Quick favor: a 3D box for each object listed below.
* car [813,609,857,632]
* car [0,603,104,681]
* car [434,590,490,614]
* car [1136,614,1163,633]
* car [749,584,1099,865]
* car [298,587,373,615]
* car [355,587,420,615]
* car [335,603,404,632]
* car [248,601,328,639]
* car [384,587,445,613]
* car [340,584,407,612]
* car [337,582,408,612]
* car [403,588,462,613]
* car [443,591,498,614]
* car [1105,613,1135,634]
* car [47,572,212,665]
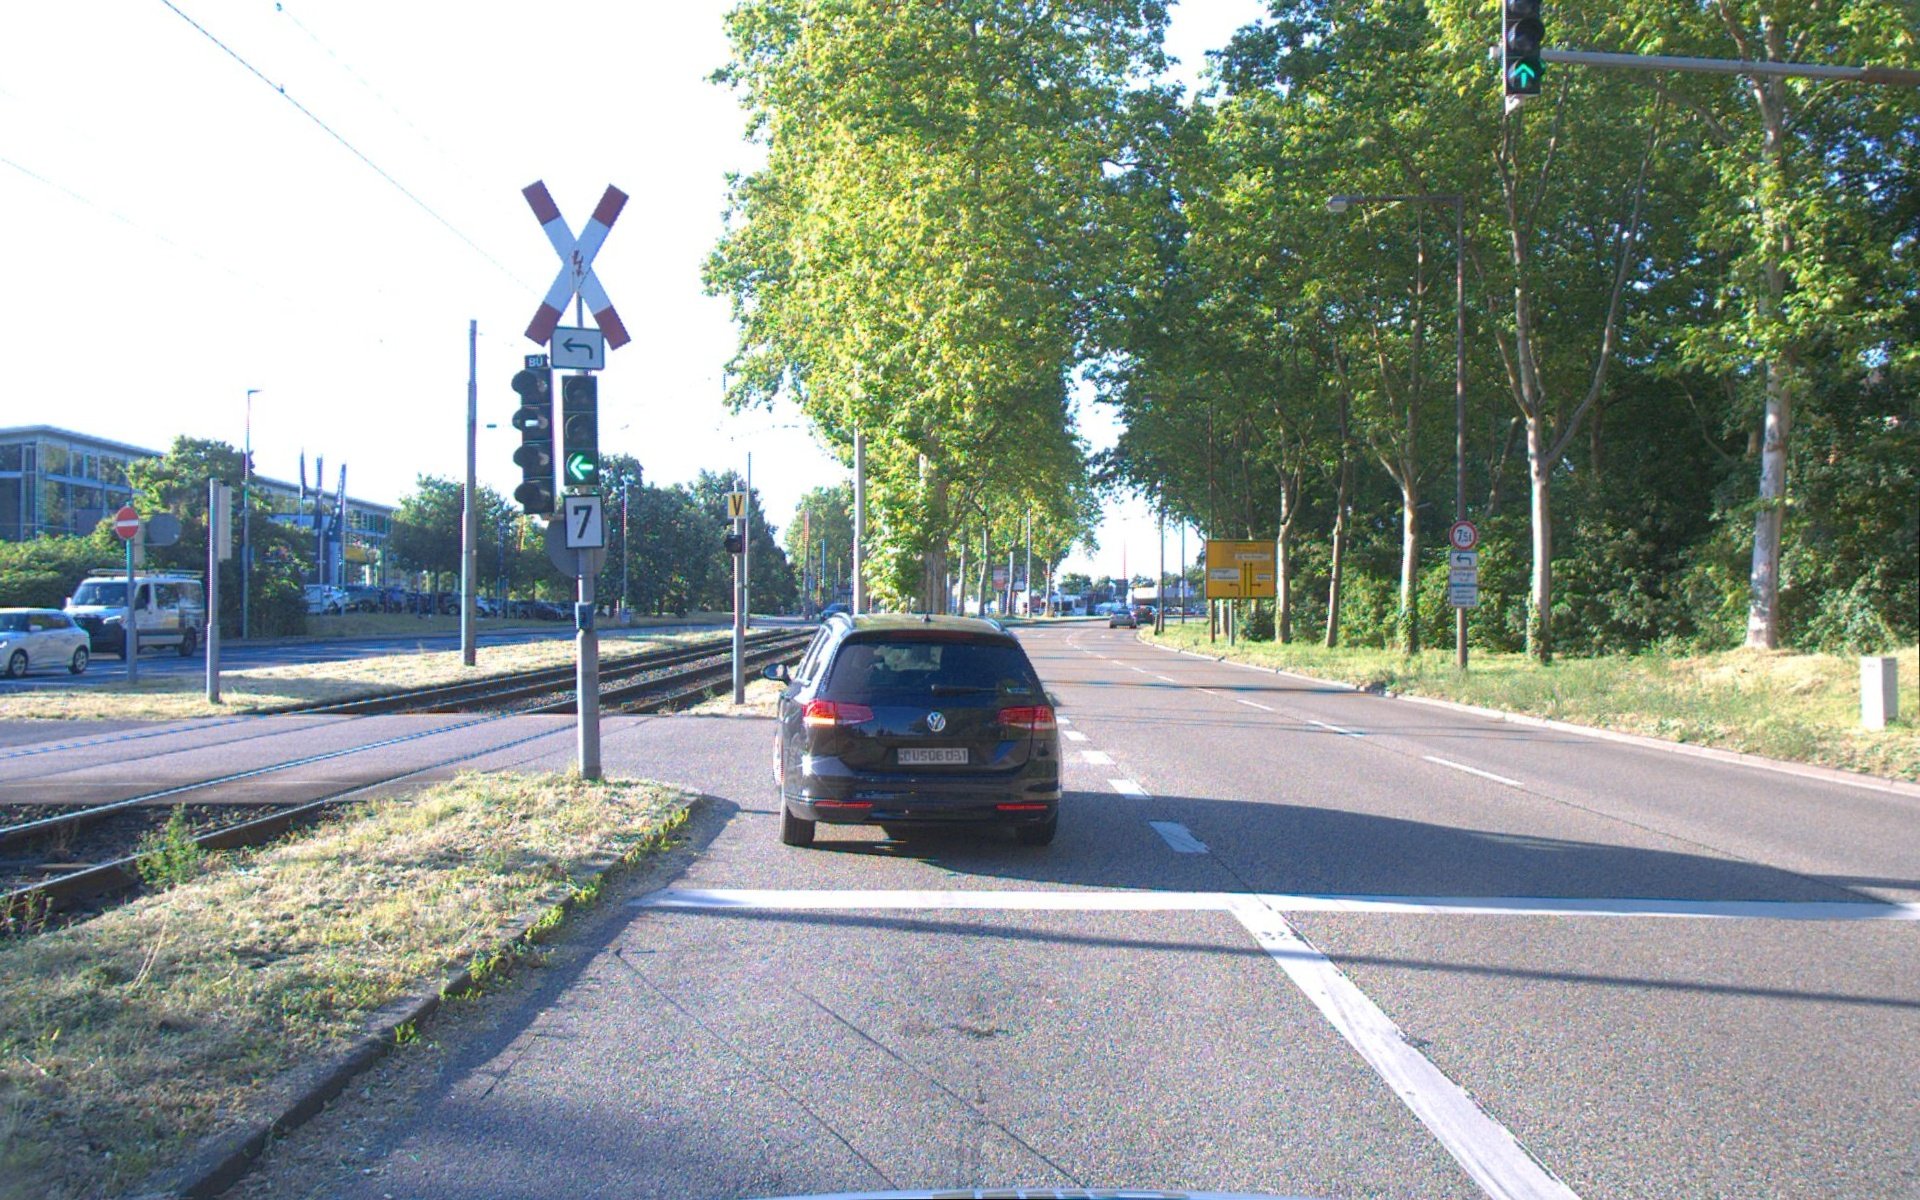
[{"bbox_3d":[-9.525,1.530,126.173,1.772,1.713,3.999,0,-1,22],"label":"car"},{"bbox_3d":[-21.101,0.890,36.985,1.832,1.646,3.999,1,-1,-1],"label":"car"},{"bbox_3d":[-35.476,0.157,117.915,3.731,1.594,1.749,1,-1,-20],"label":"car"},{"bbox_3d":[14.883,1.819,129.791,1.951,1.465,4.003,1,-1,8],"label":"car"},{"bbox_3d":[-0.451,0.743,11.590,1.792,1.583,4.248,1,-1,-10],"label":"car"},{"bbox_3d":[-33.992,0.073,90.110,3.731,1.413,1.749,1,-1,-20],"label":"car"},{"bbox_3d":[-35.447,0.074,102.497,3.731,1.594,1.749,1,-1,-20],"label":"car"},{"bbox_3d":[-34.469,1.037,96.681,3.731,1.594,1.749,1,-1,-20],"label":"car"},{"bbox_3d":[-35.081,1.070,86.457,3.731,1.892,1.749,1,-1,-20],"label":"car"},{"bbox_3d":[-35.703,0.014,108.350,3.731,1.594,1.749,1,-1,-20],"label":"car"},{"bbox_3d":[-35.290,-0.105,99.629,3.731,1.594,1.749,1,-1,-20],"label":"car"},{"bbox_3d":[-33.381,-0.152,94.071,3.731,1.594,1.749,1,-1,-20],"label":"car"},{"bbox_3d":[-35.652,0.064,111.740,3.731,1.594,1.749,1,-1,-20],"label":"car"},{"bbox_3d":[-35.721,0.193,120.701,3.731,1.594,1.749,1,-1,-20],"label":"car"},{"bbox_3d":[11.603,1.684,119.856,1.951,1.467,4.003,1,-1,9],"label":"car"},{"bbox_3d":[-25.082,0.566,50.236,1.962,2.611,5.876,1,-1,0],"label":"car"}]
